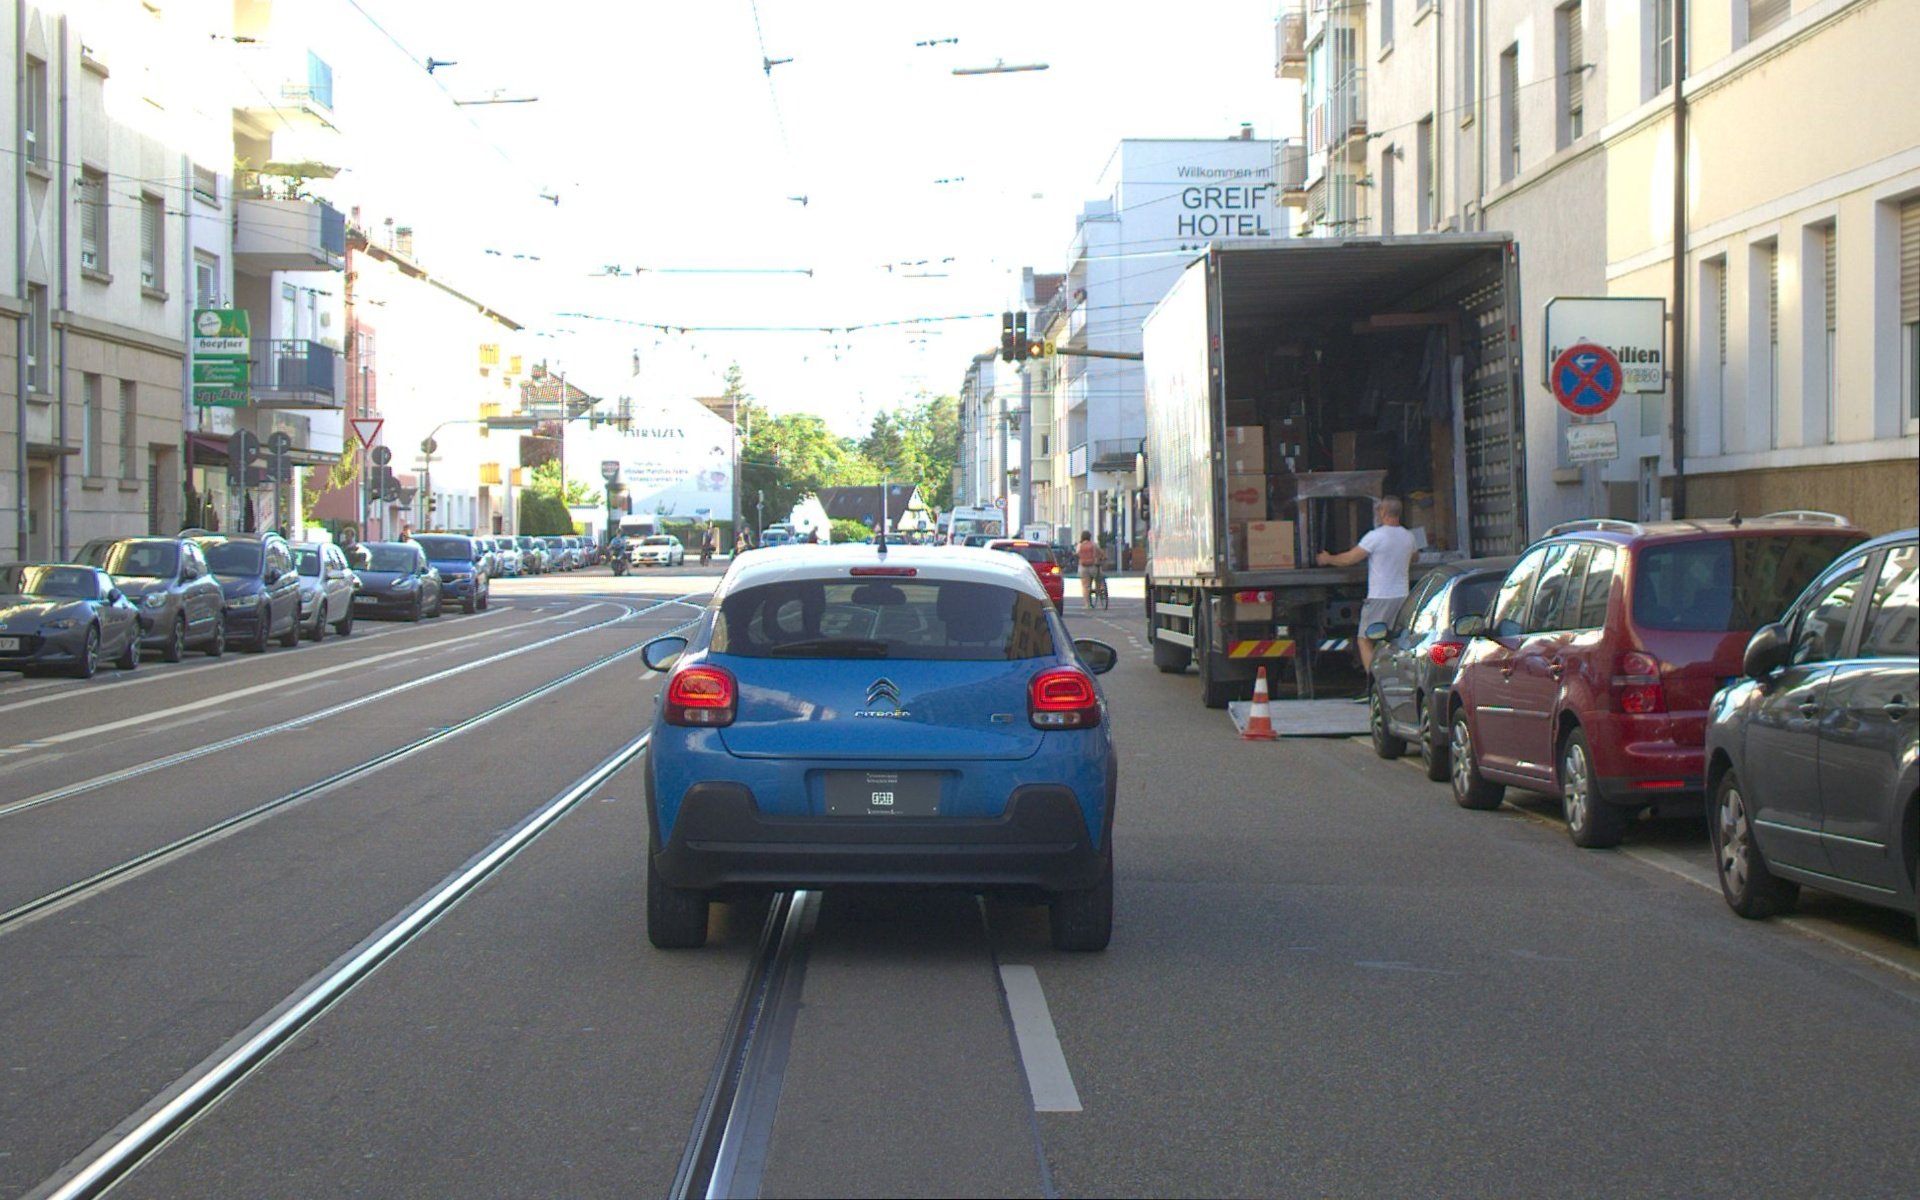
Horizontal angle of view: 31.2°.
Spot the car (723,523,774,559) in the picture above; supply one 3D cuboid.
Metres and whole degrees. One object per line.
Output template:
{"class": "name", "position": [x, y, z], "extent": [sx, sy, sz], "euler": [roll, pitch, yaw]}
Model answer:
{"class": "car", "position": [-9.026, -2.541, 146.700], "extent": [1.993, 1.503, 4.000], "euler": [0, 1, -1]}

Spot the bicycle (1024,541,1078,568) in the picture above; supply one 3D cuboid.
{"class": "bicycle", "position": [3.218, -1.599, 120.918], "extent": [1.874, 0.953, 0.701], "euler": [0, 1, 4]}

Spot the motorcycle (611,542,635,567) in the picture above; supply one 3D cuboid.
{"class": "motorcycle", "position": [-11.931, -1.619, 121.888], "extent": [0.615, 0.861, 1.671], "euler": [0, 1, 2]}

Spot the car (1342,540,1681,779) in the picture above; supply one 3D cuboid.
{"class": "car", "position": [3.717, 0.343, 23.746], "extent": [1.582, 1.458, 3.881], "euler": [-1, 1, -2]}

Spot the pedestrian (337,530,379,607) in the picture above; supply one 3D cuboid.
{"class": "pedestrian", "position": [-12.175, -0.650, 69.582], "extent": [0.697, 1.543, 0.721], "euler": [0, 2, 3]}

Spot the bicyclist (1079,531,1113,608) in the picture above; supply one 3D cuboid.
{"class": "bicyclist", "position": [2.926, -0.663, 74.119], "extent": [0.726, 1.640, 0.790], "euler": [0, 1, 2]}

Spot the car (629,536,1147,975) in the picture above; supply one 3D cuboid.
{"class": "car", "position": [-0.374, 0.499, 13.778], "extent": [1.743, 1.457, 4.001], "euler": [1, 1, -4]}

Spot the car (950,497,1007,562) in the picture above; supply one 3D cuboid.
{"class": "car", "position": [0.660, -2.568, 126.425], "extent": [1.993, 2.317, 4.000], "euler": [1, 1, -1]}

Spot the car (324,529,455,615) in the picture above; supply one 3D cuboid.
{"class": "car", "position": [-10.559, -0.529, 63.877], "extent": [1.699, 1.504, 4.312], "euler": [2, 1, 0]}

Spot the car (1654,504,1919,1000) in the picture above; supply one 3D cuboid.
{"class": "car", "position": [4.020, 0.460, 12.831], "extent": [1.789, 1.646, 4.367], "euler": [-1, 1, -2]}

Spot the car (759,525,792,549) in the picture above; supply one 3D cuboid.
{"class": "car", "position": [-12.000, -4.100, 224.116], "extent": [2.021, 1.520, 4.001], "euler": [0, 1, -2]}

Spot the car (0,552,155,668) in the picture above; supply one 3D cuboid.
{"class": "car", "position": [-10.351, 0.083, 38.852], "extent": [1.699, 1.211, 3.786], "euler": [2, 1, -2]}

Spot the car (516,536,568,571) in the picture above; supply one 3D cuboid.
{"class": "car", "position": [-18.548, -2.078, 152.636], "extent": [1.911, 1.492, 4.001], "euler": [0, 1, -2]}

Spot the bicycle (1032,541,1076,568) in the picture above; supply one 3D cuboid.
{"class": "bicycle", "position": [3.270, -1.581, 119.854], "extent": [1.504, 0.953, 0.701], "euler": [0, 1, 4]}

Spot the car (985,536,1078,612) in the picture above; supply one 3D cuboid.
{"class": "car", "position": [1.419, -0.533, 67.231], "extent": [1.738, 1.415, 4.000], "euler": [0, 1, 2]}

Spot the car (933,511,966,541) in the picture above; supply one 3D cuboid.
{"class": "car", "position": [-0.561, -3.981, 185.427], "extent": [1.689, 1.612, 4.000], "euler": [1, 1, 0]}

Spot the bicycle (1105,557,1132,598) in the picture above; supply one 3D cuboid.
{"class": "bicycle", "position": [3.407, -0.485, 74.016], "extent": [0.498, 0.861, 1.749], "euler": [0, 1, 0]}

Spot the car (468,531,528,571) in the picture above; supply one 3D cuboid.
{"class": "car", "position": [-17.996, -1.927, 134.095], "extent": [1.911, 1.492, 4.001], "euler": [0, 1, -2]}

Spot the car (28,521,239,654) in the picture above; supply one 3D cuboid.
{"class": "car", "position": [-10.429, -0.176, 43.625], "extent": [1.699, 1.563, 4.000], "euler": [2, 1, 0]}

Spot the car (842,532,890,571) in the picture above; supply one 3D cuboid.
{"class": "car", "position": [-4.063, -2.104, 148.939], "extent": [1.993, 1.612, 4.000], "euler": [1, 1, -1]}

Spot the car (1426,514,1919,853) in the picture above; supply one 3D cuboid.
{"class": "car", "position": [3.759, 0.357, 18.733], "extent": [1.591, 1.603, 4.247], "euler": [-1, 1, -3]}

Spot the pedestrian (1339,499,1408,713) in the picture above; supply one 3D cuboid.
{"class": "pedestrian", "position": [3.443, 0.045, 28.645], "extent": [0.512, 1.769, 0.416], "euler": [0, 1, -1]}

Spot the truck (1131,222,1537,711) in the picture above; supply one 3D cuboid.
{"class": "truck", "position": [3.424, -1.249, 34.628], "extent": [2.860, 4.059, 11.779], "euler": [0, 1, 0]}

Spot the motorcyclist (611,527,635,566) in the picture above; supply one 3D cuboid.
{"class": "motorcyclist", "position": [-11.926, -1.903, 121.728], "extent": [0.719, 1.373, 0.911], "euler": [0, 1, 3]}

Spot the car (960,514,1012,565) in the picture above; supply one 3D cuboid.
{"class": "car", "position": [0.905, -2.141, 121.498], "extent": [1.732, 1.744, 3.214], "euler": [1, 1, -1]}

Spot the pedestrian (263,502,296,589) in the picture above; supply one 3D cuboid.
{"class": "pedestrian", "position": [-15.863, -1.267, 80.124], "extent": [0.686, 2.007, 0.486], "euler": [0, 1, -3]}

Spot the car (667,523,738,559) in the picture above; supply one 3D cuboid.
{"class": "car", "position": [-11.907, -2.713, 158.619], "extent": [1.808, 1.634, 4.001], "euler": [-1, 1, -28]}

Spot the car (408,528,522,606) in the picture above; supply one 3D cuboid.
{"class": "car", "position": [-10.096, -0.681, 70.383], "extent": [1.744, 1.504, 4.000], "euler": [2, 1, 0]}

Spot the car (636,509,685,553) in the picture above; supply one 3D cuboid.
{"class": "car", "position": [-15.335, -3.539, 175.972], "extent": [2.207, 2.243, 4.677], "euler": [0, 1, -2]}

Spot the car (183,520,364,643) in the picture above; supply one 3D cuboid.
{"class": "car", "position": [-9.635, -0.271, 48.540], "extent": [1.699, 1.610, 4.244], "euler": [2, 1, 0]}

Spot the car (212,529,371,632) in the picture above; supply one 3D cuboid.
{"class": "car", "position": [-10.454, -0.316, 54.025], "extent": [1.699, 1.504, 4.387], "euler": [2, 1, -1]}

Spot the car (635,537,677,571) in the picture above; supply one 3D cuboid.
{"class": "car", "position": [-14.420, -2.181, 163.150], "extent": [1.849, 1.568, 4.402], "euler": [0, 1, -3]}
